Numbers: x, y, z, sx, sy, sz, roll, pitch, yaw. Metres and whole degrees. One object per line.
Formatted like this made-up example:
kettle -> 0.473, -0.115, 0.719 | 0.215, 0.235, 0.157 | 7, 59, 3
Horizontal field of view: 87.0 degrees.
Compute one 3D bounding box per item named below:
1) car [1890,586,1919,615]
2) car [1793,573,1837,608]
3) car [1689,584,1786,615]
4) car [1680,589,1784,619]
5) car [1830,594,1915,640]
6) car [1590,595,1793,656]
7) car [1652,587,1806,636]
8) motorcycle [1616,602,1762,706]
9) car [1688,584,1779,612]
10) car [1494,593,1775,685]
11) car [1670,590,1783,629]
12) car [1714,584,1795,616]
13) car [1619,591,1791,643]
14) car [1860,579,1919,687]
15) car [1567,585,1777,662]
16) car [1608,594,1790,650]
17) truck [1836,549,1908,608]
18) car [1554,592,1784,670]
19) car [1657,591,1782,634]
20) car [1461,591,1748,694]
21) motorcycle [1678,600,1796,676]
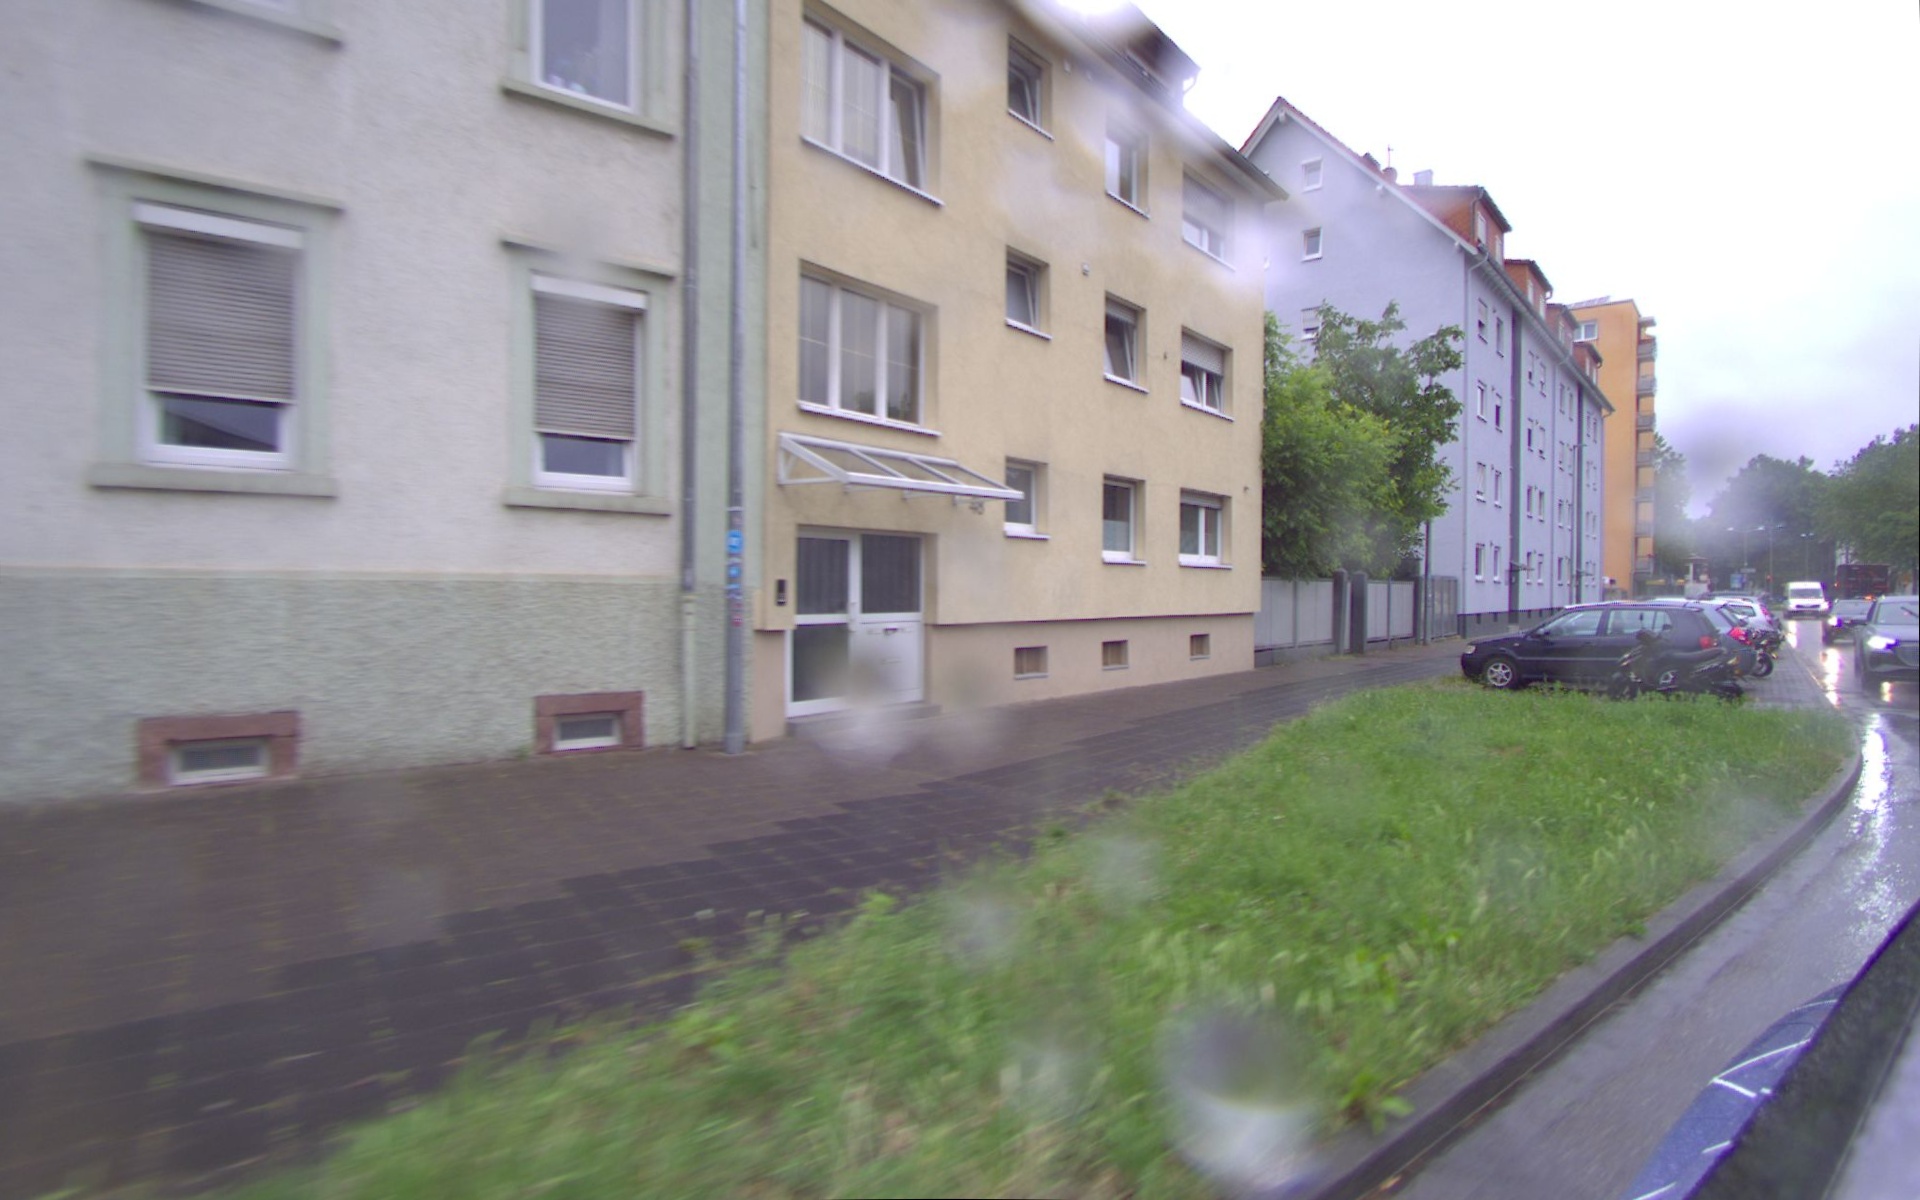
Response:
car -> 50.935, -0.013, 53.732 | 2.062, 1.463, 4.115 | 0, 1, 40
car -> 58.562, -0.678, 69.391 | 2.185, 2.284, 4.815 | 0, 1, 39
car -> 42.387, -0.028, 55.221 | 4.156, 1.626, 1.626 | 0, 1, 41
car -> 39.295, 0.197, 51.562 | 4.156, 1.471, 1.626 | 0, 1, 41
car -> 31.213, 0.540, 34.718 | 1.953, 1.408, 4.115 | 0, 1, 40
car -> 19.954, 0.643, 27.699 | 4.373, 1.495, 2.020 | 0, 1, 41
car -> 26.448, 0.377, 34.877 | 4.156, 1.589, 1.626 | 0, 1, 41
motorcycle -> 9.945, 0.701, 13.826 | 1.586, 1.341, 0.685 | 0, -1, 39
car -> 45.438, -0.123, 59.491 | 4.156, 1.626, 1.626 | 0, 1, 41
car -> 12.113, 0.639, 18.301 | 4.048, 1.473, 1.906 | 0, -1, 40
car -> 31.345, 0.366, 41.448 | 3.605, 1.506, 1.519 | 0, 1, 41
car -> 51.292, -0.012, 65.374 | 3.983, 2.039, 1.970 | 0, 1, 42
car -> 22.838, 0.484, 31.125 | 4.156, 1.495, 1.626 | 0, 1, 41
car -> 17.176, 0.507, 17.715 | 1.953, 1.733, 4.115 | 0, 1, 40
car -> 16.661, 0.499, 23.780 | 3.910, 1.635, 1.667 | 0, 1, 41
car -> 21.500, 0.582, 29.520 | 4.156, 1.495, 1.892 | 0, 1, 41
truck -> 74.292, -1.727, 82.648 | 3.817, 4.440, 10.632 | 0, 1, 40
car -> 15.222, 0.608, 21.828 | 3.910, 1.499, 1.830 | 0, 1, 41
car -> 28.009, 0.441, 37.378 | 3.605, 1.506, 1.519 | 0, 1, 41
car -> 10.368, 0.621, 16.403 | 3.746, 1.473, 1.774 | 0, -1, 40
motorcycle -> 14.940, 0.695, 19.474 | 1.761, 1.390, 0.724 | 0, 0, 41
